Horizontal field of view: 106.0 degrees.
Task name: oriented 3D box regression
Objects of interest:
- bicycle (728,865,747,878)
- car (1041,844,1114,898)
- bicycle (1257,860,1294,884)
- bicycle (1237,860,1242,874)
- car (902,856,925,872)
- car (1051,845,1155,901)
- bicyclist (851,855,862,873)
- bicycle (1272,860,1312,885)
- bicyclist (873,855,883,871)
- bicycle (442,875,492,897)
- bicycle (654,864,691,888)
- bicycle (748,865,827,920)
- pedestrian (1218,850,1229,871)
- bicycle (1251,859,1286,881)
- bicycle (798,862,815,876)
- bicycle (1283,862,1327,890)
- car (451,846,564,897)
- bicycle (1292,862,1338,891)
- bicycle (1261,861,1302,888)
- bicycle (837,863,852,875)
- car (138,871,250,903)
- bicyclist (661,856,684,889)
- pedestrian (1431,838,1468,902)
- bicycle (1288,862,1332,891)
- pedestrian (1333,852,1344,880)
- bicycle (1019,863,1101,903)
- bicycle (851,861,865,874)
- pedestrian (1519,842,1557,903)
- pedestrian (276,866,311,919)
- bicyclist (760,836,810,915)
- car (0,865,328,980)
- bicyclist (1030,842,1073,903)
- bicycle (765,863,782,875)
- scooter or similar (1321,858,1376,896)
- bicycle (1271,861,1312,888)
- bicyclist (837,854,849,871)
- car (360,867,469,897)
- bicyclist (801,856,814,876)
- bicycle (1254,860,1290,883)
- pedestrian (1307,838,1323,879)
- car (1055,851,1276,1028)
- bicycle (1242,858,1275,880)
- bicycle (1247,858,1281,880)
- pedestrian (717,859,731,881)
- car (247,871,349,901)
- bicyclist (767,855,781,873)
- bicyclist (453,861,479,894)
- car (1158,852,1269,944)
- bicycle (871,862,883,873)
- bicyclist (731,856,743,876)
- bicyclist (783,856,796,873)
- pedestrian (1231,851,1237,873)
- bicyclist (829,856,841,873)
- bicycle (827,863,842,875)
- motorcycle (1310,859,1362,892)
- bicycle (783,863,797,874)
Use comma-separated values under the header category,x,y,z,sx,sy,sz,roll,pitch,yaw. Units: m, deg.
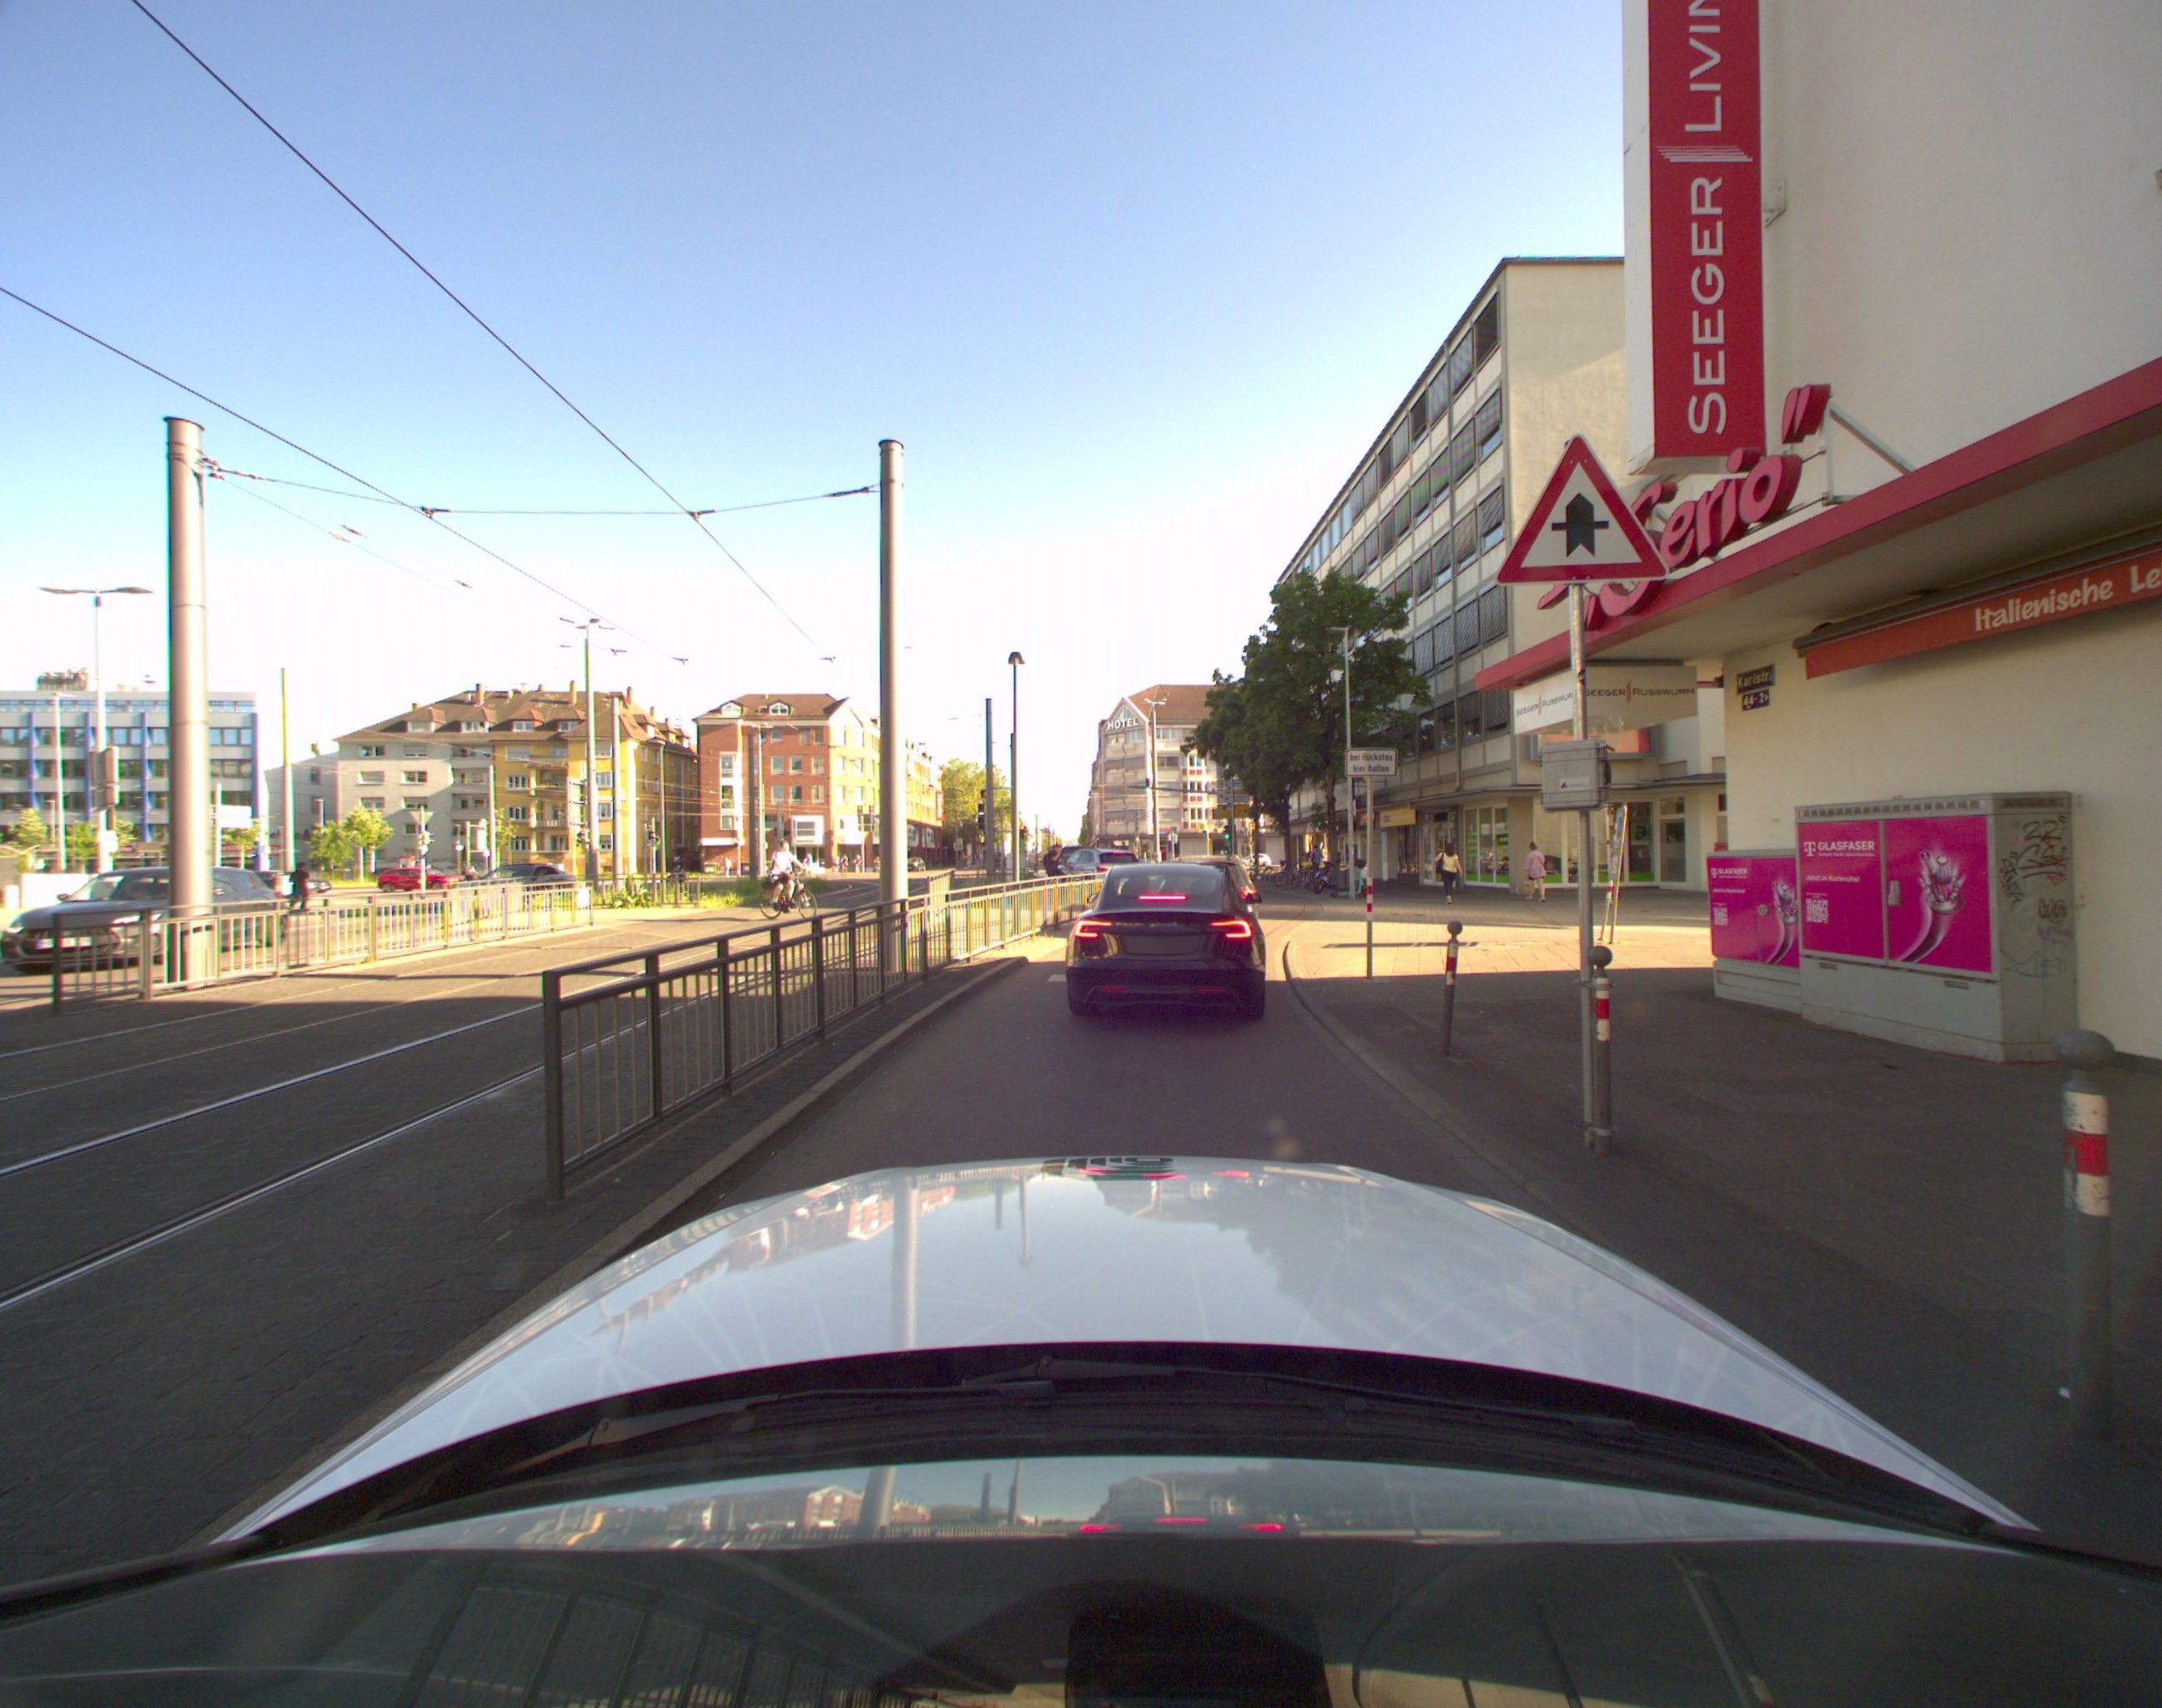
category,x,y,z,sx,sy,sz,roll,pitch,yaw
bicycle,-26.035,1.324,61.694,0.445,0.972,2.247,0,-1,2
car,-0.225,0.661,32.811,1.997,2.014,3.980,-1,0,-15
bicycle,9.139,0.833,38.224,1.643,1.099,0.350,0,-1,3
bicycle,12.092,0.989,62.240,0.330,1.034,1.259,-1,-1,8
car,-18.225,1.090,88.669,1.692,1.731,3.706,0,-1,0
car,0.632,0.583,26.633,1.891,1.662,4.126,0,-1,-23
bicyclist,-20.641,0.917,74.964,0.780,1.563,0.747,-1,0,3
bicycle,9.117,0.801,35.271,1.643,1.099,0.350,0,-1,3
bicyclist,-20.815,0.930,83.358,0.780,1.563,0.747,0,-1,3
bicycle,-34.652,1.808,45.984,2.188,1.214,0.544,0,-1,-11
bicycle,-19.268,1.007,38.452,0.456,1.093,2.205,0,-1,6
bicycle,-6.710,0.865,18.602,1.833,1.222,0.488,-1,-1,21
pedestrian,10.934,0.499,62.651,0.697,1.662,0.777,0,-1,1
bicycle,9.279,0.794,40.263,1.643,1.099,0.350,0,-1,3
bicycle,-22.497,1.215,66.848,0.535,1.088,2.227,0,-1,4
bicycle,8.729,0.855,31.801,1.649,1.099,0.349,0,-1,-9
car,-18.661,0.557,26.707,1.713,1.527,4.016,0,-1,-15
bicycle,8.894,0.856,30.951,1.649,1.099,0.349,0,-1,-9
bicycle,8.414,0.862,34.213,1.649,1.099,0.349,0,-1,-9
bicycle,-22.181,1.359,76.363,0.527,1.088,2.286,0,-1,4
car,-50.638,1.873,46.569,3.952,1.685,1.903,0,-1,-11
bicyclist,-19.249,0.878,38.389,0.782,1.527,0.589,0,-1,3
pedestrian,10.364,0.431,22.908,0.906,1.752,1.044,-1,0,25
bicycle,8.816,0.862,31.374,1.649,1.061,0.349,0,-1,-9
pedestrian,12.816,0.600,40.480,0.388,1.343,0.513,0,-1,4
bicycle,-0.554,0.784,22.587,2.346,1.053,0.624,0,-1,-36
bicycle,-20.533,1.224,74.985,0.527,1.088,2.227,-1,0,4
pedestrian,12.831,0.504,22.890,0.881,1.667,0.813,-1,-1,25
pedestrian,-25.292,1.218,26.174,0.778,1.681,0.585,0,-1,-43
bicyclist,-6.748,0.484,18.582,0.744,1.759,0.762,-1,-1,22
car,-14.469,0.952,12.928,1.637,1.526,3.858,0,-1,-5
bicyclist,-0.811,0.500,22.275,0.763,1.628,0.967,0,-1,-37
bicycle,-25.948,1.293,68.808,0.522,0.972,2.247,0,-1,2
scooter or similar,8.897,0.760,27.111,1.625,1.215,0.649,-1,-1,32
bicycle,8.615,0.843,33.332,1.649,1.099,0.349,0,-1,-9
bicyclist,-22.260,0.831,76.223,0.780,1.563,0.747,-1,0,3
car,-39.483,1.649,48.380,4.585,1.700,1.993,0,-1,-10
bicyclist,-22.517,0.983,67.048,0.780,1.563,0.747,0,-1,3
bicycle,9.203,0.837,39.250,1.643,1.099,0.350,0,-1,3
pedestrian,11.719,0.220,40.858,0.659,2.014,0.580,0,-1,4
car,0.932,0.724,8.773,1.820,1.455,4.007,0,-1,7
bicycle,9.243,0.787,42.405,1.643,1.099,0.350,0,-1,3
bicycle,9.262,0.757,41.311,1.643,1.099,0.350,-1,0,3
pedestrian,-28.824,1.282,65.680,0.780,1.820,0.747,0,-1,3
car,-45.495,1.834,47.389,3.984,1.672,1.772,0,-1,-8
bicyclist,-25.933,0.808,68.708,0.895,1.503,0.696,0,-1,1
bicyclist,-34.697,1.329,45.971,0.901,1.808,0.788,0,-1,-11
car,2.398,0.704,15.007,1.741,1.454,4.009,-1,0,8
bicycle,-20.841,1.358,83.320,0.527,1.088,2.227,0,-1,4
bicyclist,-26.035,0.913,61.678,0.631,1.503,0.696,0,-1,1
bicyclist,-26.824,0.960,74.957,0.699,1.471,0.975,-1,0,9
pedestrian,11.773,0.627,62.696,0.400,1.710,0.529,-1,-1,9
bicyclist,-22.323,0.951,73.850,0.780,1.563,0.747,-1,0,3
bicycle,-22.319,1.337,73.699,0.527,1.088,2.286,0,-1,4
motorcycle,9.143,0.774,29.181,1.701,1.173,0.541,0,-1,0
bicycle,-26.804,1.354,75.054,0.402,0.981,1.699,-1,-1,10
